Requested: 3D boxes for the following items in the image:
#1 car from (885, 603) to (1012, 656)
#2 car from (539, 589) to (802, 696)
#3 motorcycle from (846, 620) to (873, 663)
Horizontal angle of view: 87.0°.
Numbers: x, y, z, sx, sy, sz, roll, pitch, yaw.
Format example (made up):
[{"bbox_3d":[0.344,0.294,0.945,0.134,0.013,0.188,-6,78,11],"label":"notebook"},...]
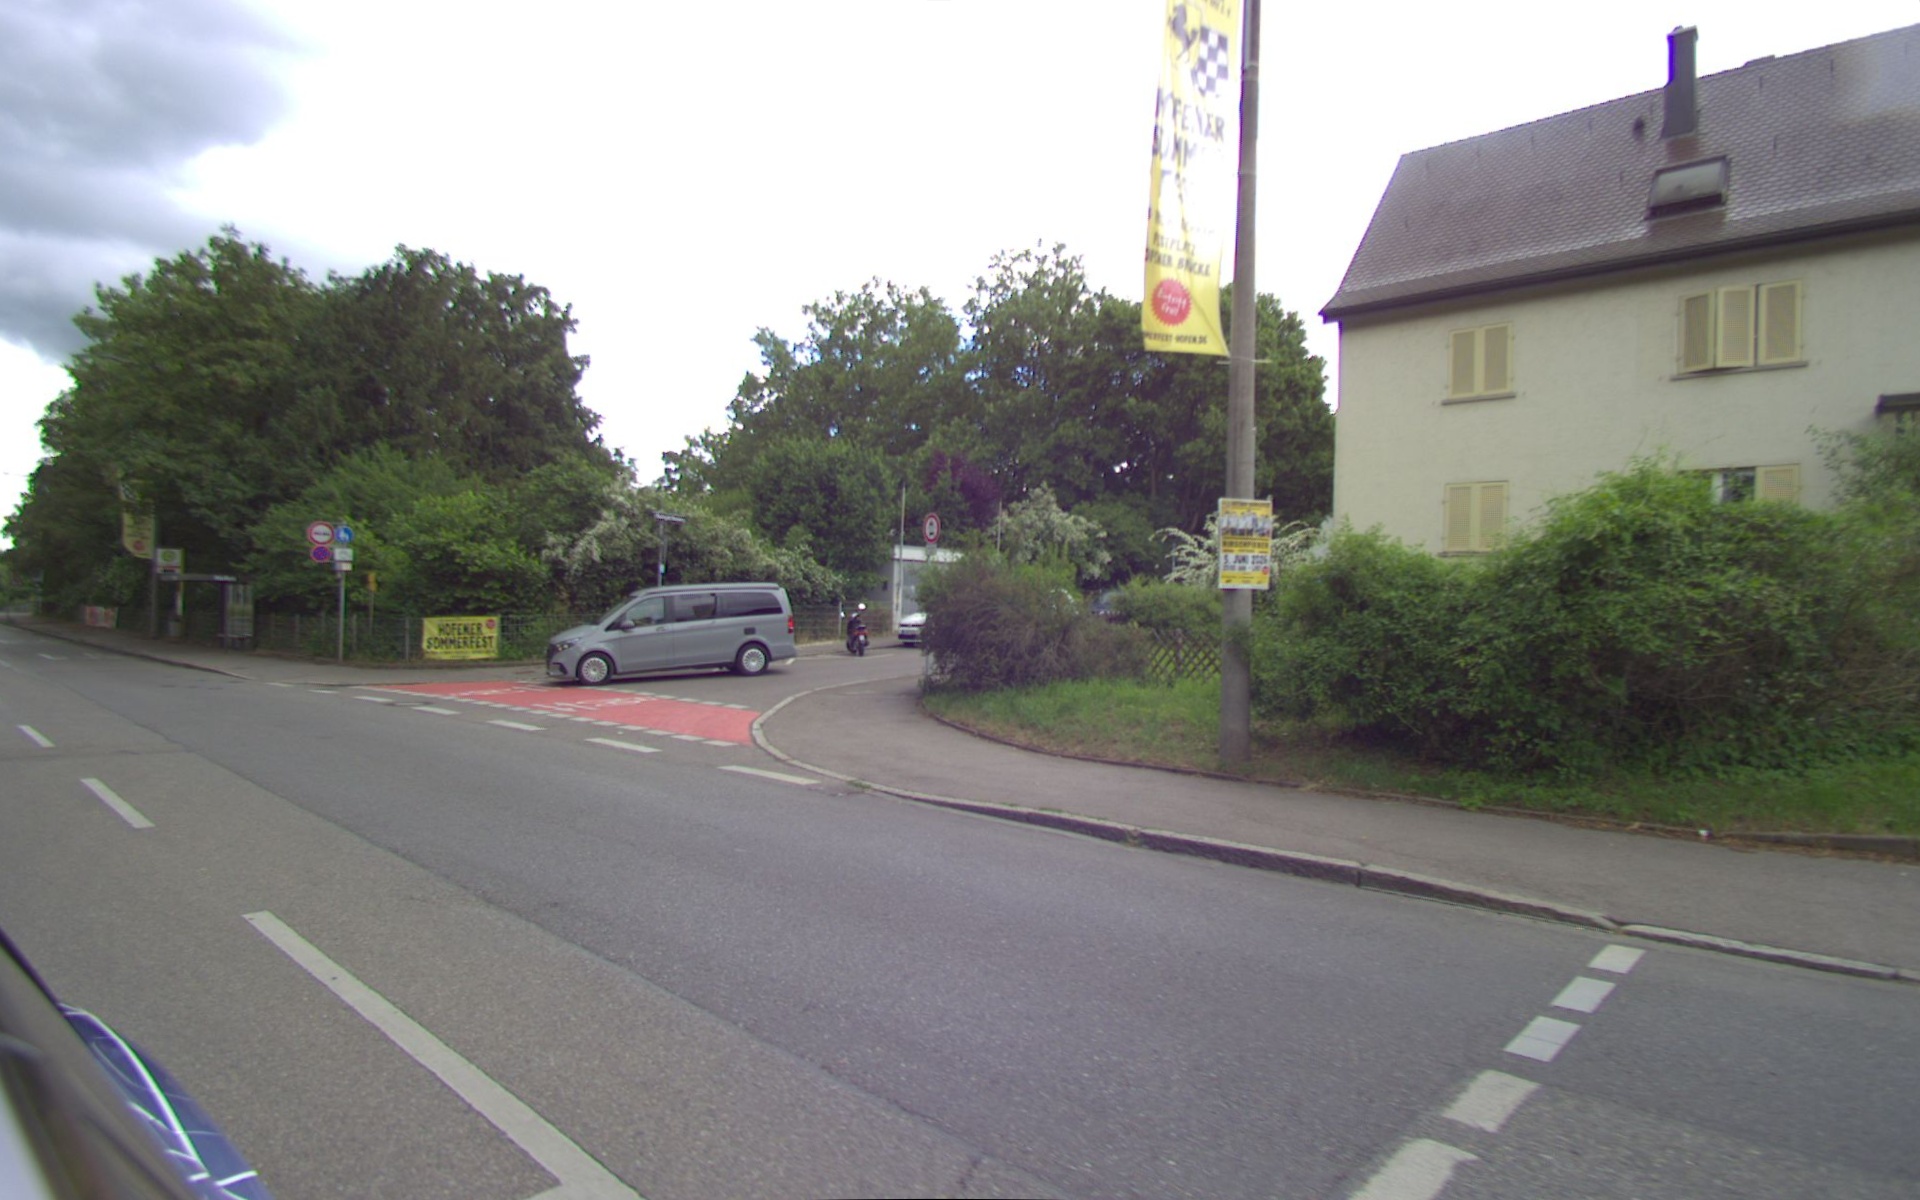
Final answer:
[{"bbox_3d":[-0.277,0.821,29.813,1.603,1.453,3.856,-1,-1,40],"label":"car"},{"bbox_3d":[-6.092,0.807,21.404,5.066,1.942,1.959,-2,0,-25],"label":"car"},{"bbox_3d":[-2.634,1.076,26.544,0.453,1.076,1.653,-1,0,-14],"label":"motorcycle"}]
